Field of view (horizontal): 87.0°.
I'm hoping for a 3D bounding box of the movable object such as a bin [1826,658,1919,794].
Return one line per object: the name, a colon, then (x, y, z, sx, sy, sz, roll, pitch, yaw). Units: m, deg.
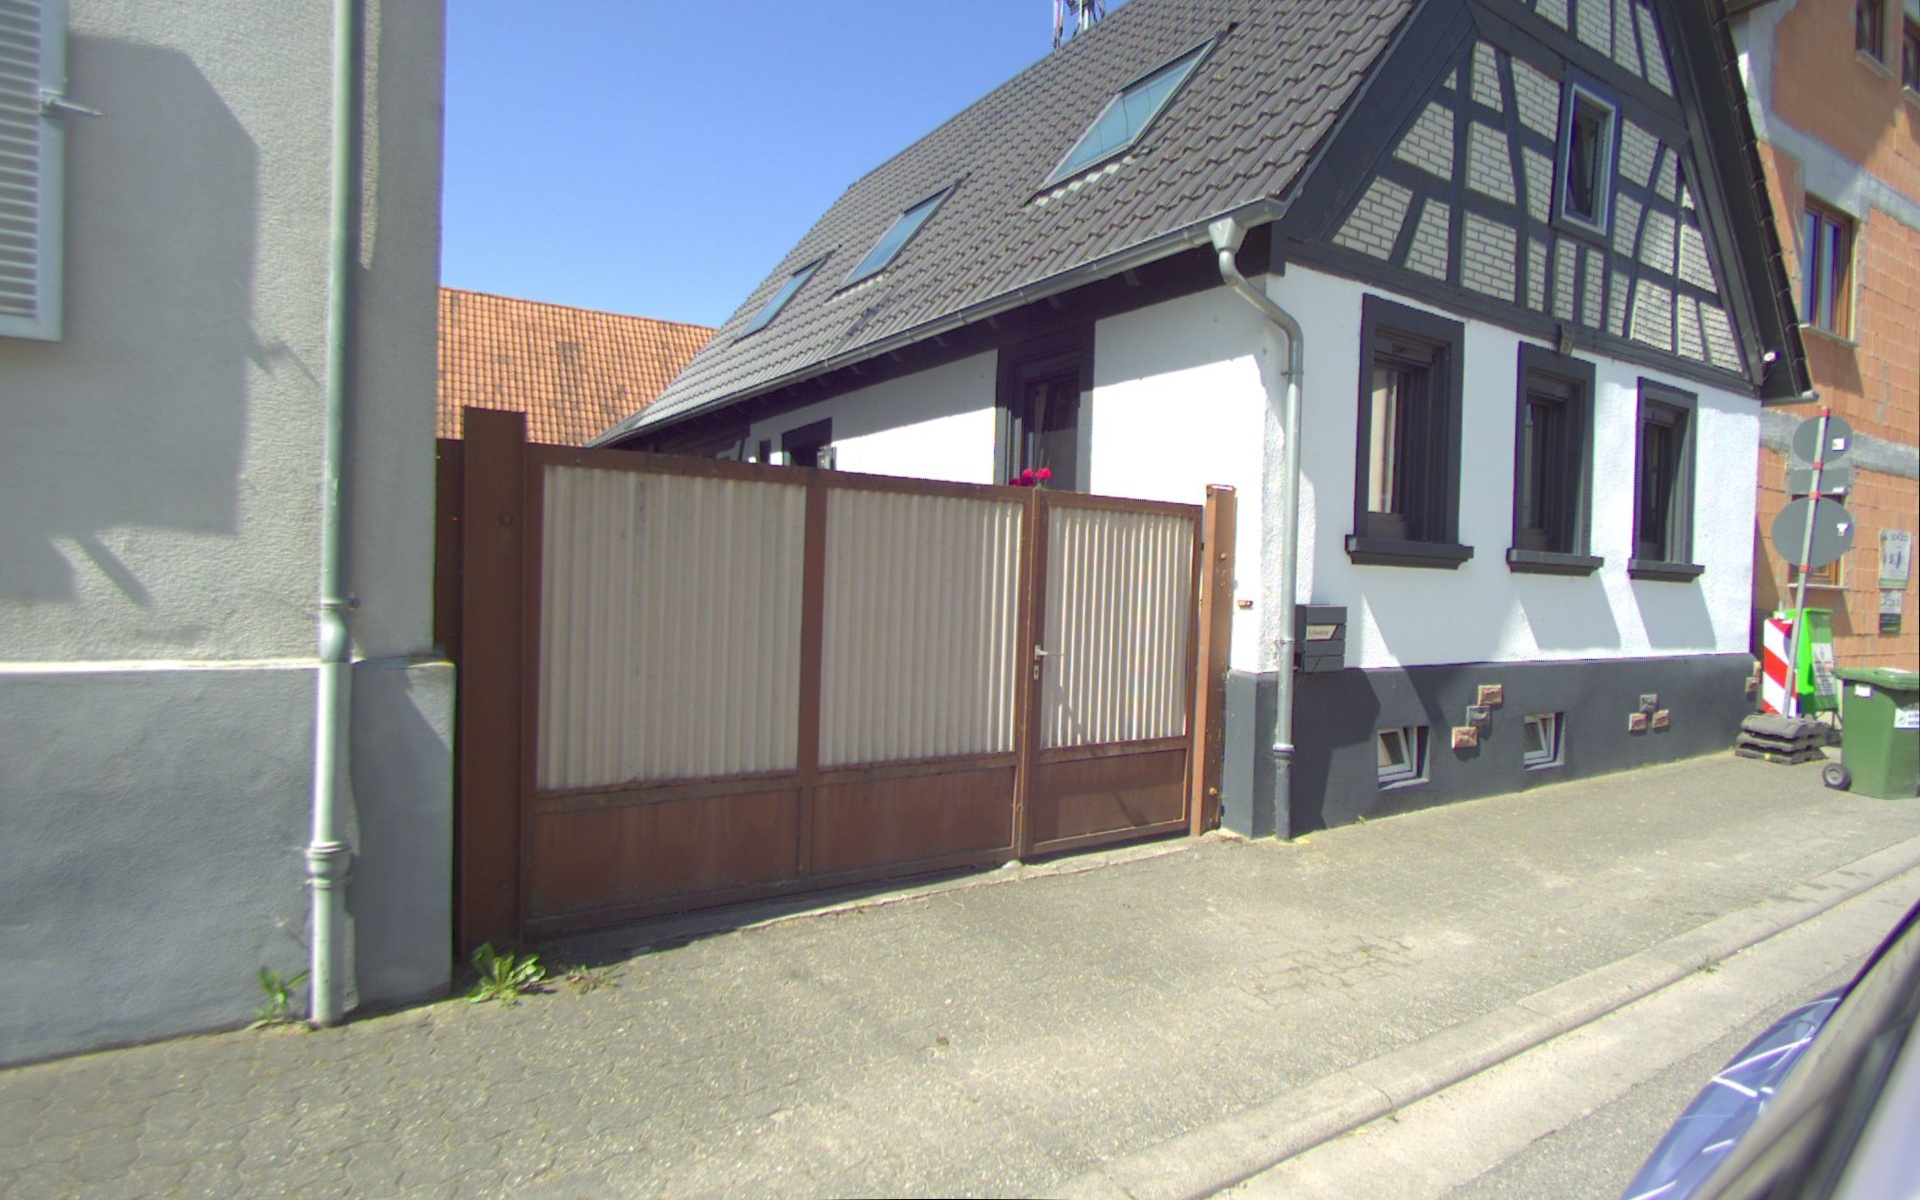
movable object such as a bin: (6.970, 0.919, 7.546, 0.540, 0.925, 0.541, 1, 1, -15)
